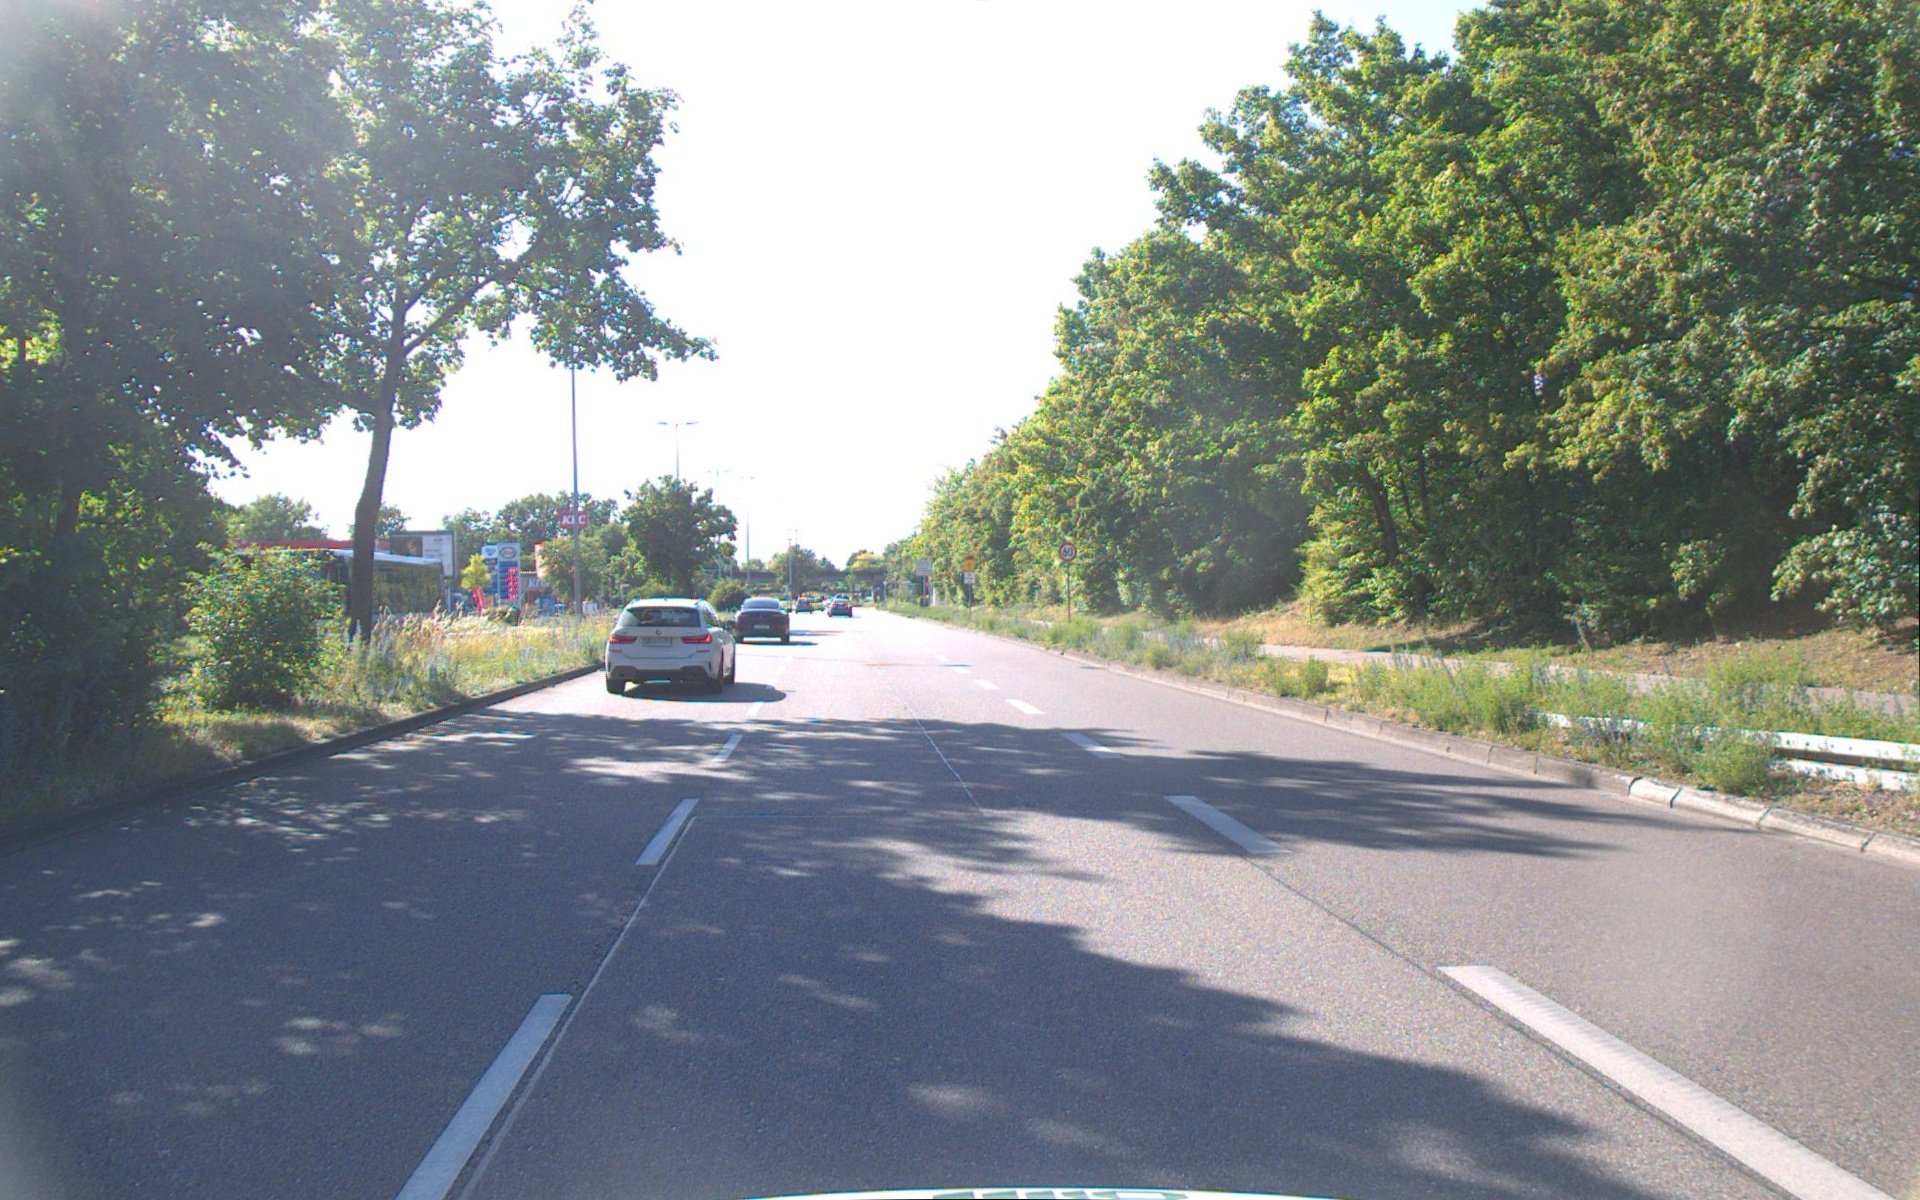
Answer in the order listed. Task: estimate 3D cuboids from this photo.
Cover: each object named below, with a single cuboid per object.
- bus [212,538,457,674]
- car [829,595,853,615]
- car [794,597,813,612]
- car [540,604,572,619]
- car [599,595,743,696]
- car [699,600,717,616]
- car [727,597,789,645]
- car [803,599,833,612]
[{"bbox_3d":[-15.279,0.089,41.525,2.668,2.768,11.076,-4,1,-5],"label":"bus"},{"bbox_3d":[-9.563,0.381,132.547,1.825,1.525,4.332,-1,0,-5],"label":"car"},{"bbox_3d":[-16.171,0.453,170.784,1.825,1.592,4.543,-1,0,-5],"label":"car"},{"bbox_3d":[-50.720,1.424,207.535,4.013,1.814,1.916,-1,0,42],"label":"car"},{"bbox_3d":[-4.637,0.680,27.106,1.825,1.480,4.544,0,0,-4],"label":"car"},{"bbox_3d":[-31.405,1.012,206.215,1.706,1.833,4.667,-4,0,-4],"label":"car"},{"bbox_3d":[-6.611,0.657,54.541,1.825,1.480,4.543,-1,0,-5],"label":"car"},{"bbox_3d":[-17.096,0.673,199.385,3.385,1.421,1.438,-1,0,28],"label":"car"}]
